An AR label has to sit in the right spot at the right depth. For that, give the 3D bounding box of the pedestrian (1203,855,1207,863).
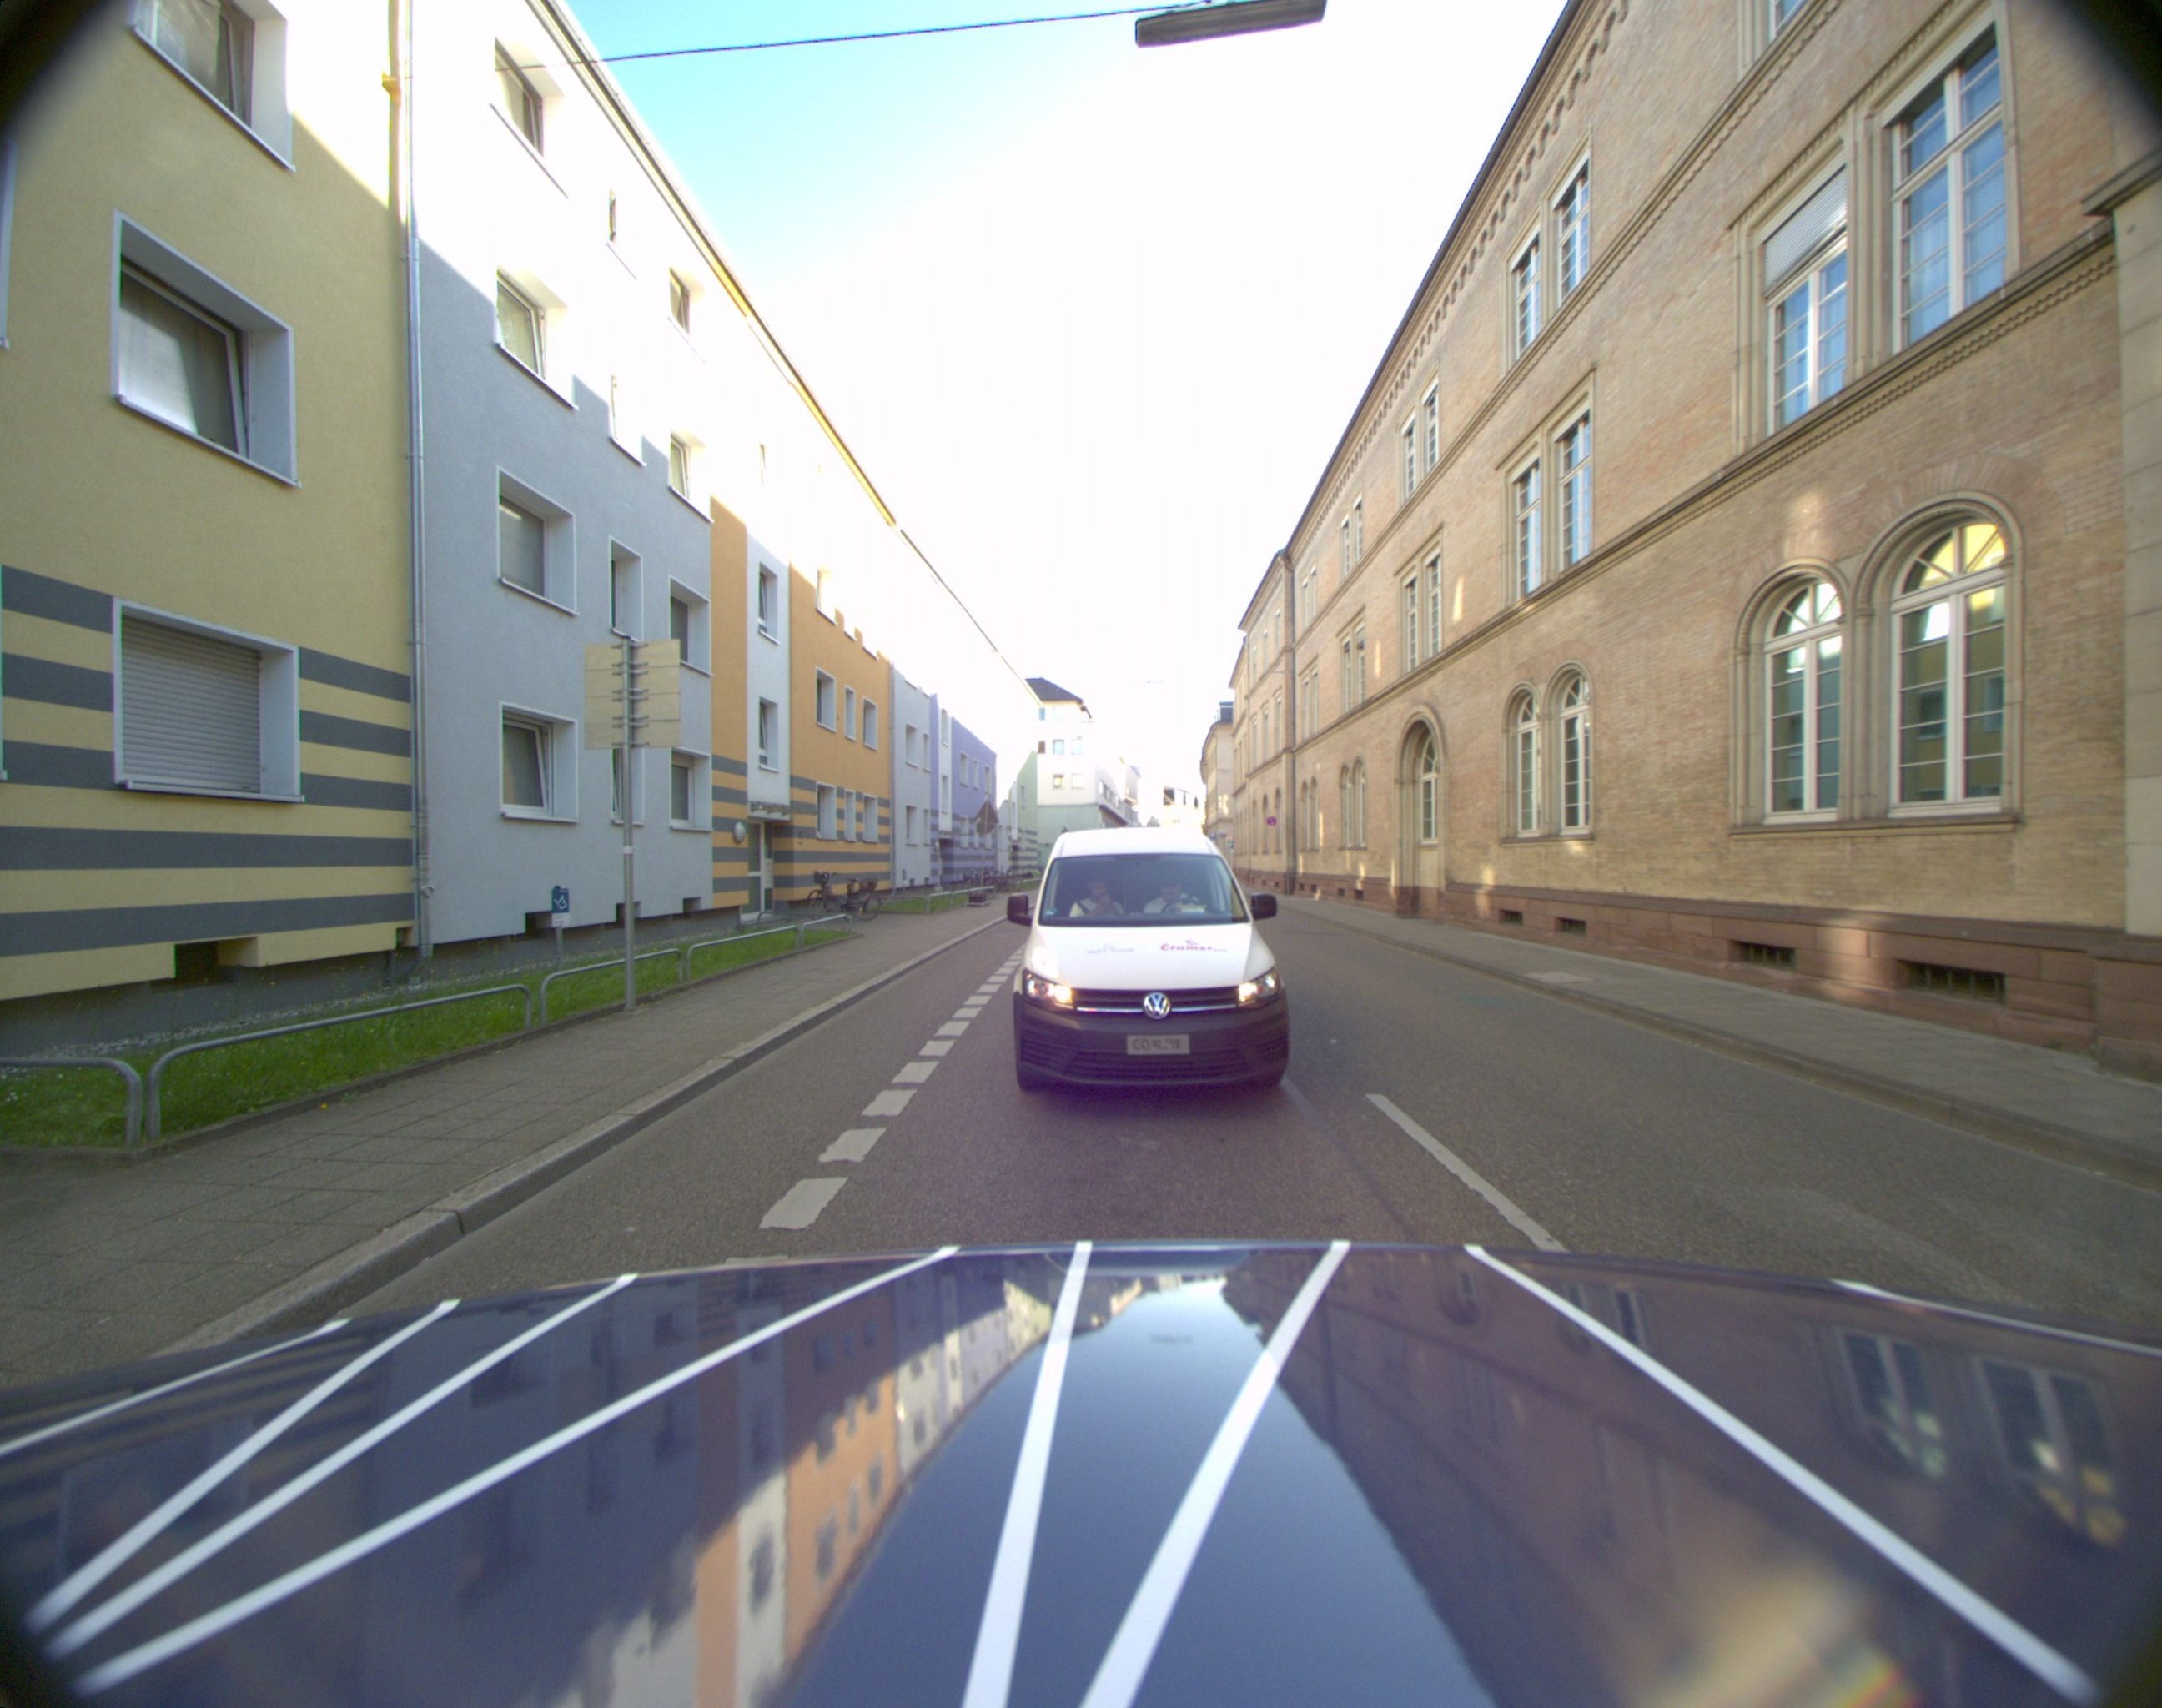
[{"bbox_3d":[24.781,0.941,151.739,0.704,1.627,0.833,3,2,14],"label":"pedestrian"}]

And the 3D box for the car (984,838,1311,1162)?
[{"bbox_3d":[0.401,0.773,6.821,1.769,1.761,5.331,-1,1,1],"label":"car"}]

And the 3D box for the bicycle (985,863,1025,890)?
[{"bbox_3d":[-3.365,0.989,33.683,1.676,1.145,0.484,0,0,4],"label":"bicycle"}]

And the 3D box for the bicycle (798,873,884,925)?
[{"bbox_3d":[-5.379,1.005,17.107,1.780,1.116,0.484,0,0,-5],"label":"bicycle"}]

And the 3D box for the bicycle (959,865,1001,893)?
[{"bbox_3d":[-4.228,1.033,31.844,1.676,1.145,0.484,0,0,4],"label":"bicycle"}]

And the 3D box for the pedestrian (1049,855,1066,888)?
[{"bbox_3d":[-1.175,0.871,38.635,0.705,1.627,0.833,2,2,5],"label":"pedestrian"}]

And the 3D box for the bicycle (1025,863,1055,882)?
[{"bbox_3d":[-2.507,1.136,46.054,1.779,1.145,0.484,0,0,0],"label":"bicycle"}]

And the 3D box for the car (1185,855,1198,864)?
[{"bbox_3d":[22.127,1.035,152.022,1.996,1.643,4.233,-2,1,17],"label":"car"}]

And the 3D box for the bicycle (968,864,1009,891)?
[{"bbox_3d":[-4.024,1.006,33.138,1.676,1.145,0.484,0,0,4],"label":"bicycle"}]

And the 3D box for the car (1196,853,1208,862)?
[{"bbox_3d":[26.112,0.747,163.753,1.996,1.643,4.233,-2,1,17],"label":"car"}]

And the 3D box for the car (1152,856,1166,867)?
[{"bbox_3d":[12.663,1.151,122.701,1.997,1.643,4.231,-2,1,9],"label":"car"}]
